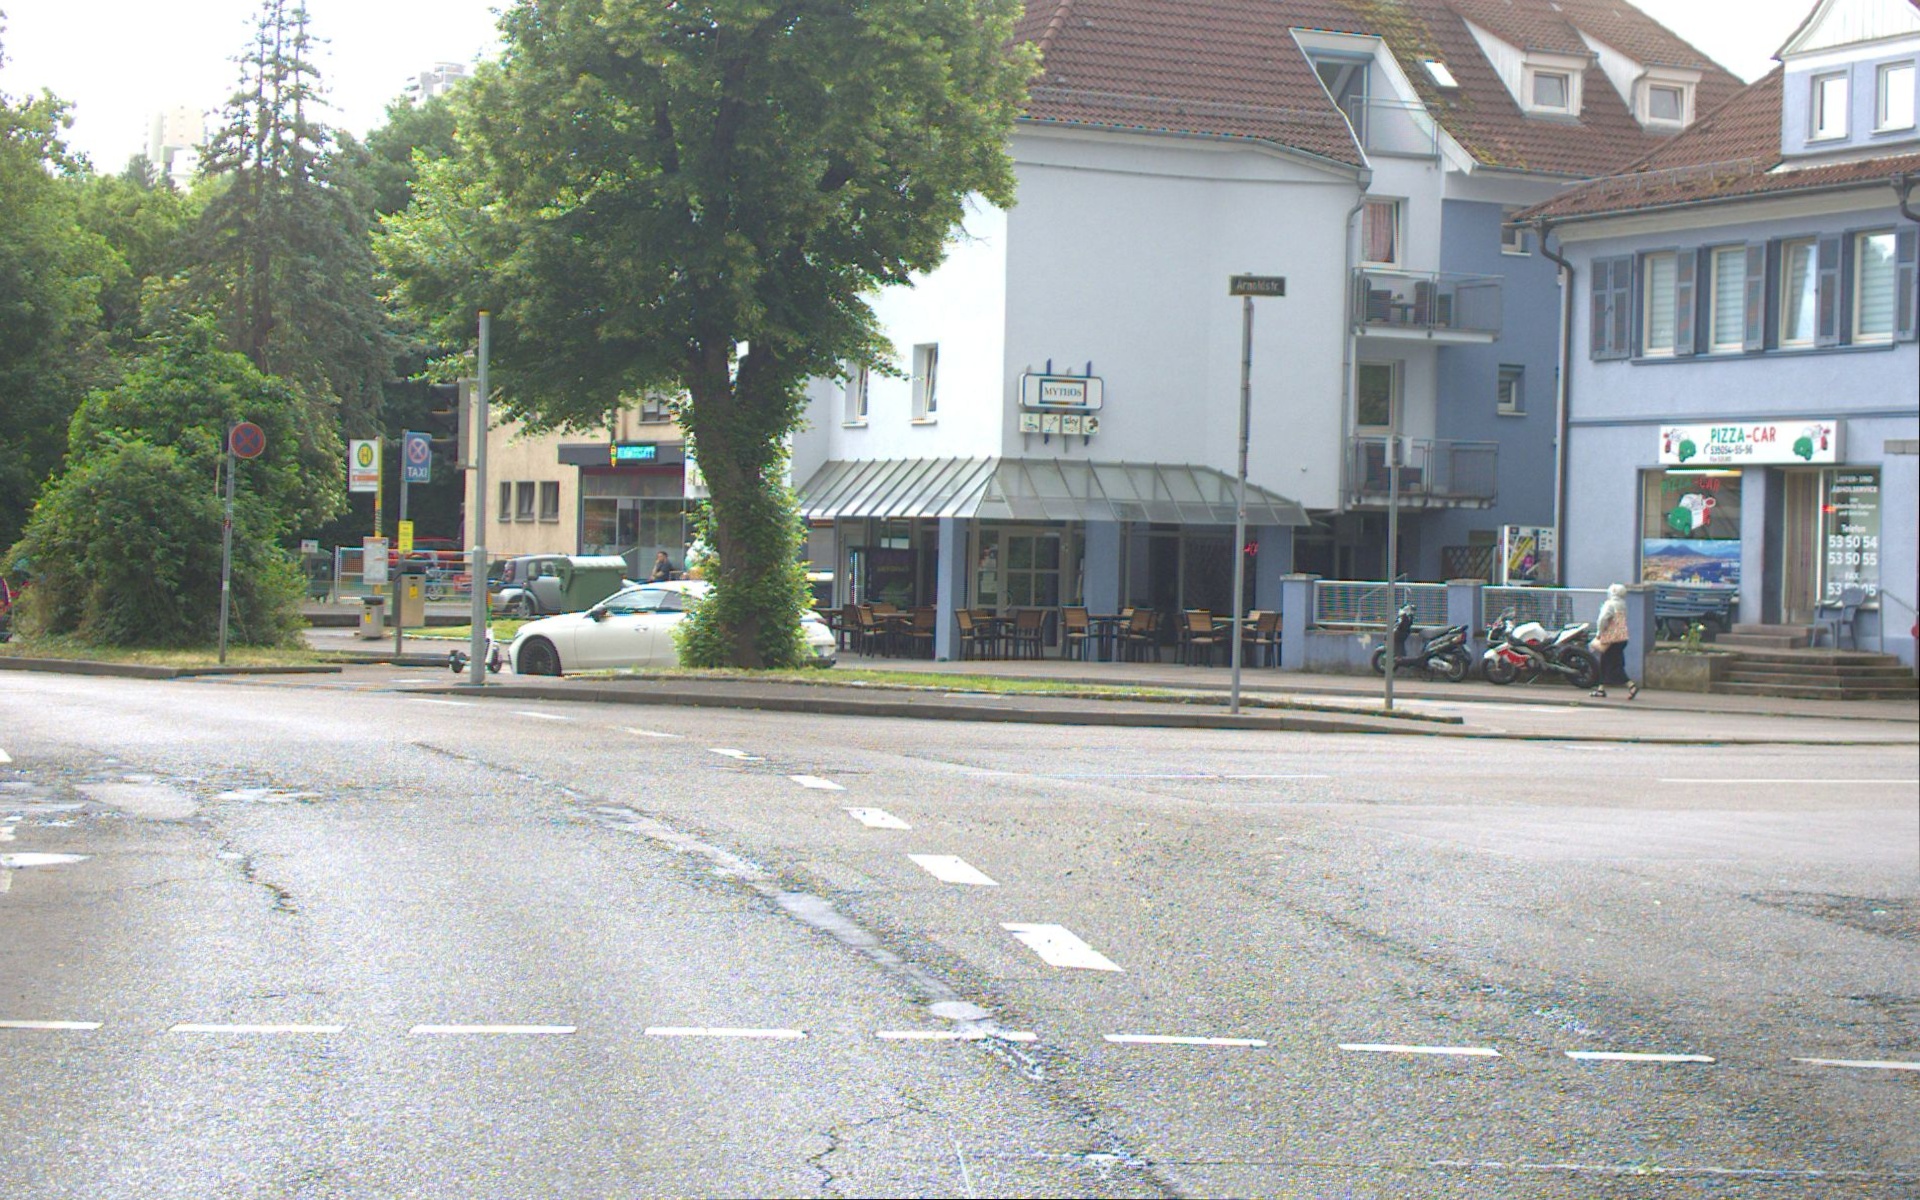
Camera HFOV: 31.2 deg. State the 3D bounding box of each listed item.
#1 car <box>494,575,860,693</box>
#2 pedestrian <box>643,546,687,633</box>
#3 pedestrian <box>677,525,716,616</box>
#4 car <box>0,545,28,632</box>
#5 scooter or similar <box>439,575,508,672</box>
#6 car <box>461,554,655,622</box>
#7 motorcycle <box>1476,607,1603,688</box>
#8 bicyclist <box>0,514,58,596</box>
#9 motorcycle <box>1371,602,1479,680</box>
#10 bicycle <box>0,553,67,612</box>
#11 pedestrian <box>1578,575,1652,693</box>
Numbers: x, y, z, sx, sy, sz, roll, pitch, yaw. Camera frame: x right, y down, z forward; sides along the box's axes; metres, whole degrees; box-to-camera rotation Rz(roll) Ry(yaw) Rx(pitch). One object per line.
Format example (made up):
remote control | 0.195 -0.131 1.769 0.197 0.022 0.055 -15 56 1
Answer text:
car | -3.801 0.421 45.761 4.709 1.405 1.898 2 1 35
pedestrian | -6.912 -0.254 80.570 0.837 2.007 1.056 1 1 -14
pedestrian | -4.535 -0.503 59.152 0.543 1.554 0.467 0 0 13
car | -16.416 -0.216 53.522 3.322 1.347 1.778 1 1 27
scooter or similar | -6.027 0.284 42.617 0.442 1.171 1.437 1 1 9
car | -8.851 -0.270 75.630 3.936 1.437 1.753 1 1 -20
motorcycle | 8.153 0.663 48.363 1.628 1.085 0.626 1 1 32
bicyclist | -18.847 -0.908 69.409 0.915 1.646 0.988 1 1 8
motorcycle | 6.777 0.591 50.133 1.458 1.085 0.523 1 1 35
bicycle | -18.864 -0.362 69.504 0.874 1.145 1.952 1 1 8
pedestrian | 8.784 0.456 46.117 0.732 1.554 0.767 1 0 31
